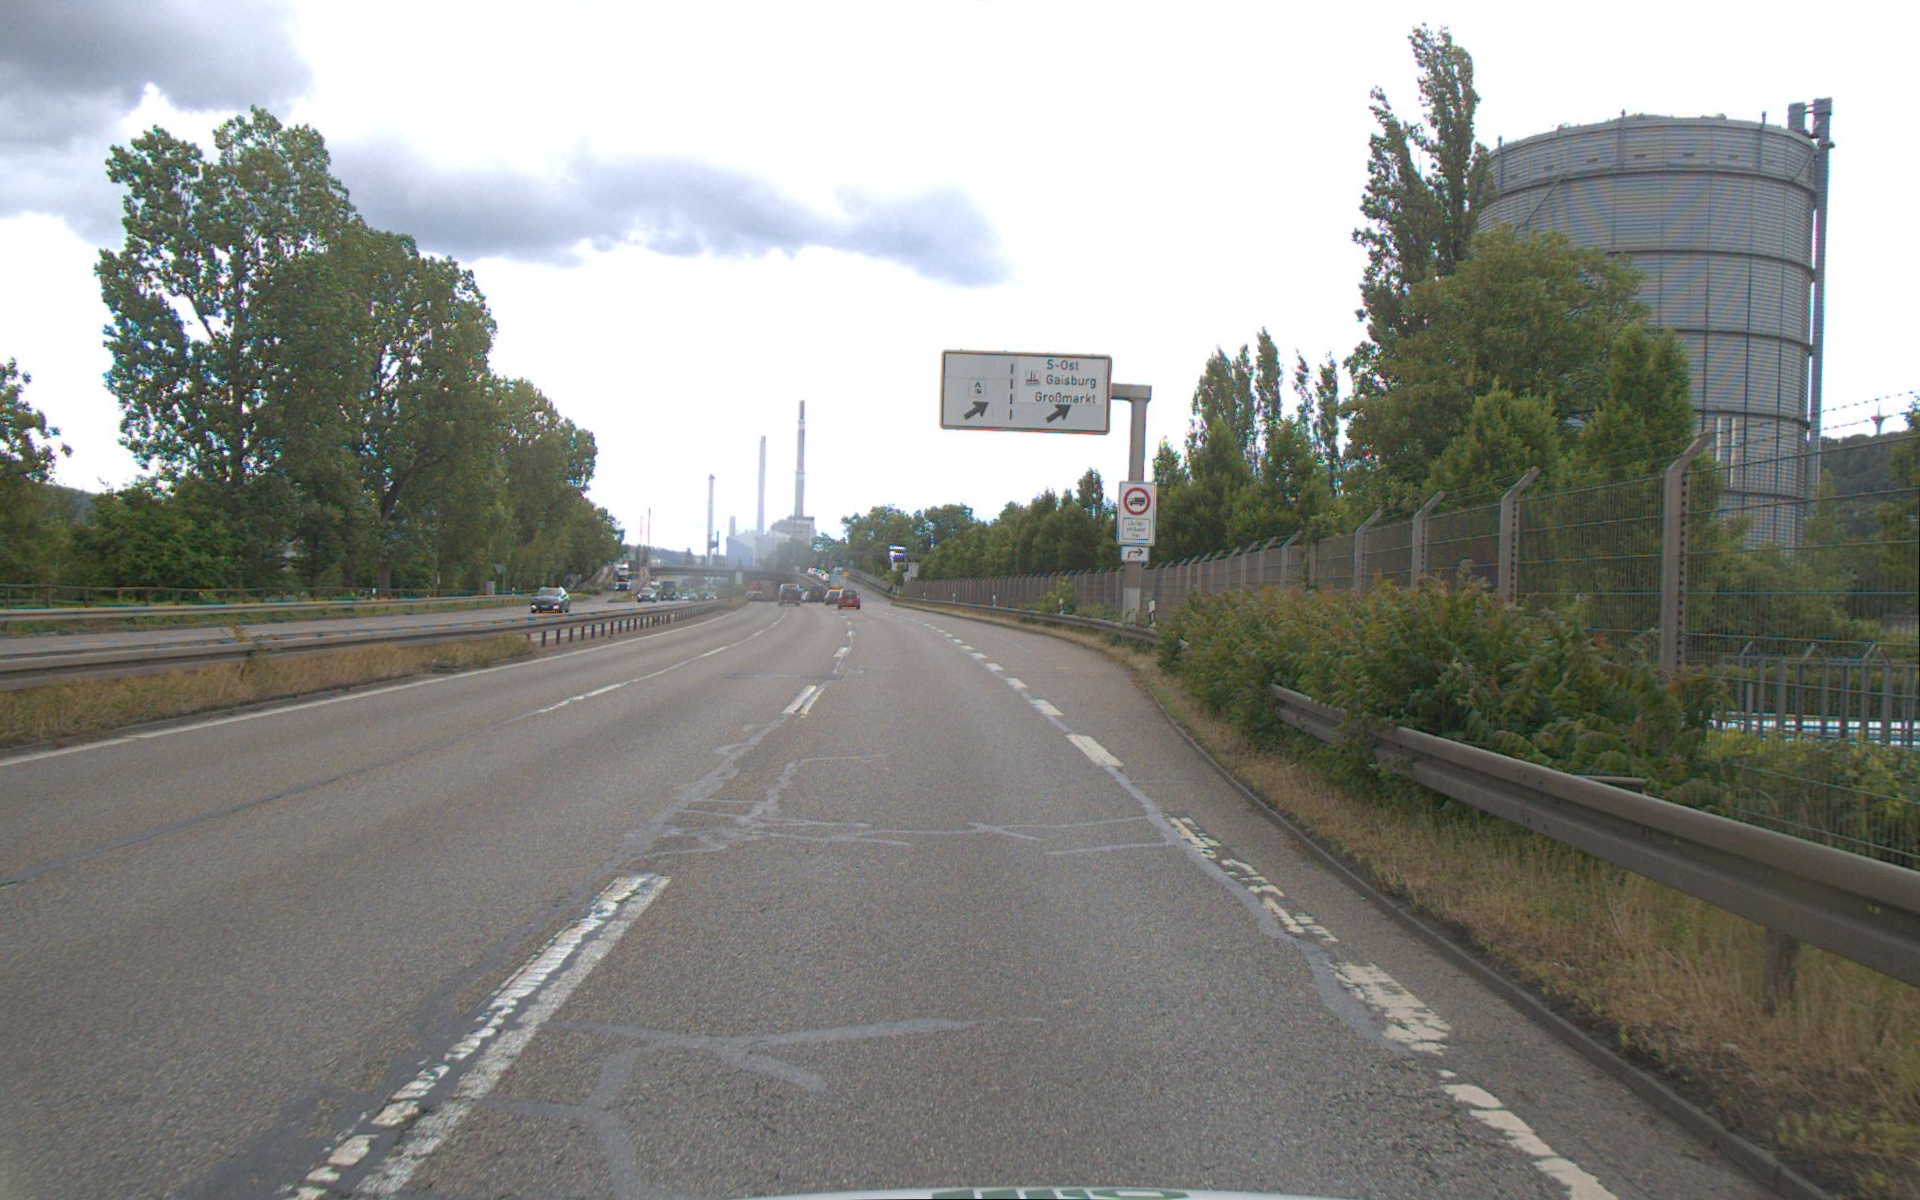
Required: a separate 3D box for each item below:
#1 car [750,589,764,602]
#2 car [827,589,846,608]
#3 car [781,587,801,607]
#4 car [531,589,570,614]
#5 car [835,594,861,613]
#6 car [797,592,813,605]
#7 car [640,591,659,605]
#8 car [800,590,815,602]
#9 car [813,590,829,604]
[{"bbox_3d":[-28.596,-0.669,233.014,1.667,1.772,4.382,0,0,-11],"label":"car"},{"bbox_3d":[-11.676,-0.146,156.152,1.665,1.772,4.387,0,0,-7],"label":"car"},{"bbox_3d":[-15.012,-0.261,146.843,1.665,1.772,3.994,0,0,-7],"label":"car"},{"bbox_3d":[-24.310,0.062,98.383,1.665,1.438,4.631,0,1,-7],"label":"car"},{"bbox_3d":[-8.754,0.264,128.760,1.936,1.448,4.896,1,0,-5],"label":"car"},{"bbox_3d":[-16.886,-0.173,179.780,1.665,1.414,4.392,0,0,-7],"label":"car"},{"bbox_3d":[-32.166,-0.245,171.629,1.665,1.438,4.630,0,1,-8],"label":"car"},{"bbox_3d":[-20.033,-0.518,217.150,1.665,1.582,4.391,0,0,-8],"label":"car"},{"bbox_3d":[-16.445,-0.348,195.579,1.665,1.582,4.392,0,0,-7],"label":"car"}]
